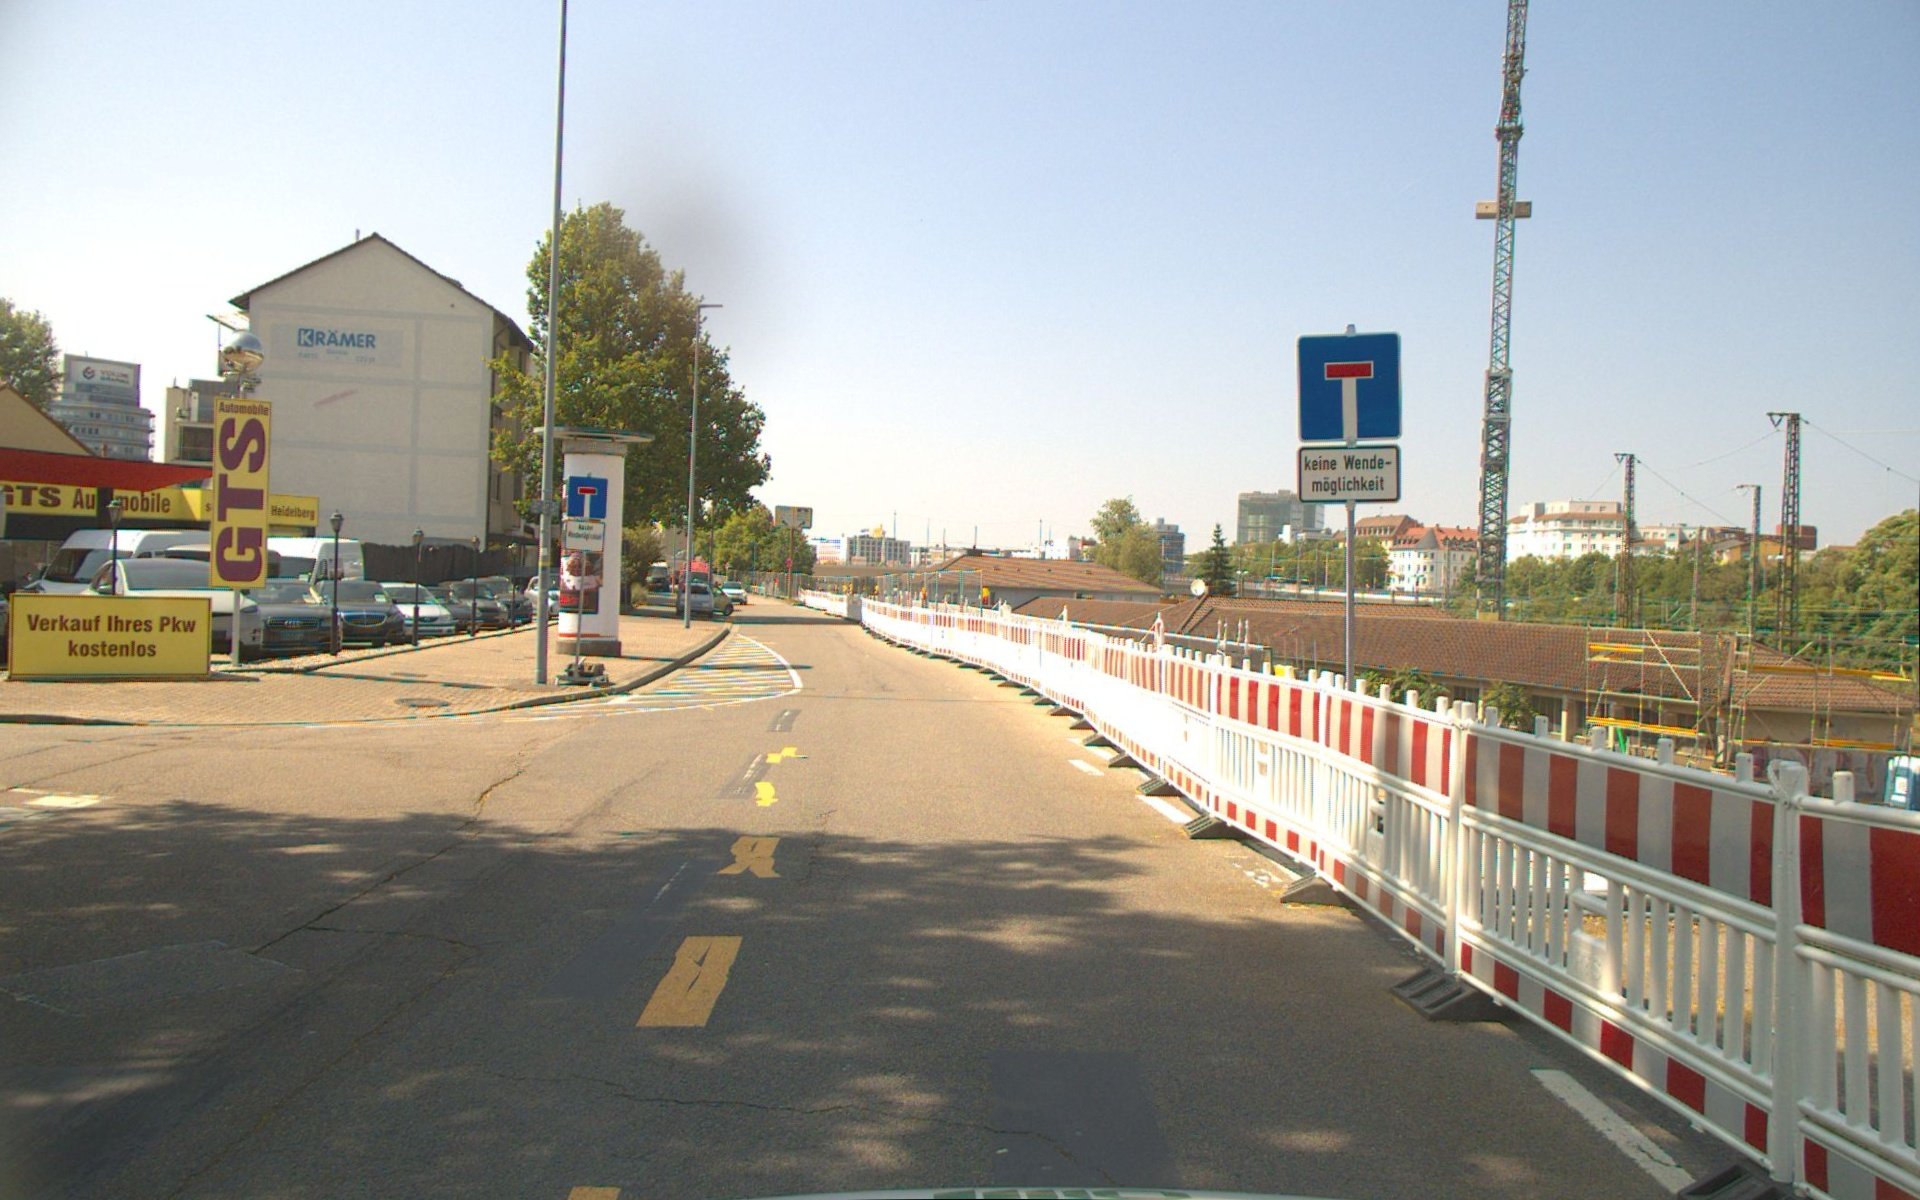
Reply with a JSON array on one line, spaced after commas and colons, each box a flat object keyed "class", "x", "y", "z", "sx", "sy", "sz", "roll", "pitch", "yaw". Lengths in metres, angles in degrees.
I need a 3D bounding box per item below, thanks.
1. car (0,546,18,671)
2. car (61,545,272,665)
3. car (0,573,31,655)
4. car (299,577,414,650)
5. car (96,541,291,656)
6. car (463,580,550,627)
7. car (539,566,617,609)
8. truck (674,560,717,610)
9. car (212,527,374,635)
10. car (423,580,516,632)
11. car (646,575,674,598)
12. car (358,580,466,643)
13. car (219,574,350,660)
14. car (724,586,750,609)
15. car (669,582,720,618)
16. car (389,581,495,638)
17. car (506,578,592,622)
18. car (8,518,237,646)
[{"class": "car", "x": -15.151, "y": 0.136, "z": 24.422, "sx": 2.019, "sy": 1.737, "sz": 4.274, "roll": 1, "pitch": -1, "yaw": -28}, {"class": "car", "x": -12.771, "y": 0.143, "z": 26.472, "sx": 1.963, "sy": 1.737, "sz": 4.595, "roll": 0, "pitch": -2, "yaw": -40}, {"class": "car", "x": -20.003, "y": 0.254, "z": 31.225, "sx": 1.868, "sy": 1.602, "sz": 4.690, "roll": 2, "pitch": 0, "yaw": 7}, {"class": "car", "x": -13.451, "y": 0.257, "z": 36.734, "sx": 1.816, "sy": 1.498, "sz": 3.962, "roll": -1, "pitch": 1, "yaw": -29}, {"class": "car", "x": -17.120, "y": 0.006, "z": 37.268, "sx": 2.200, "sy": 2.391, "sz": 4.821, "roll": 1, "pitch": -1, "yaw": -2}, {"class": "car", "x": -15.257, "y": 0.110, "z": 55.499, "sx": 1.652, "sy": 1.498, "sz": 3.953, "roll": -1, "pitch": 1, "yaw": -34}, {"class": "car", "x": -19.847, "y": -0.667, "z": 85.965, "sx": 3.856, "sy": 1.993, "sz": 1.753, "roll": 3, "pitch": 0, "yaw": -14}, {"class": "truck", "x": -15.017, "y": -0.804, "z": 94.105, "sx": 2.196, "sy": 2.694, "sz": 5.671, "roll": 2, "pitch": -1, "yaw": -8}, {"class": "car", "x": -17.440, "y": -0.436, "z": 43.616, "sx": 2.203, "sy": 2.472, "sz": 5.712, "roll": 5, "pitch": -1, "yaw": -5}, {"class": "car", "x": -15.133, "y": 0.157, "z": 50.899, "sx": 1.652, "sy": 1.498, "sz": 3.953, "roll": -1, "pitch": 1, "yaw": -34}, {"class": "car", "x": -27.230, "y": -1.179, "z": 150.366, "sx": 1.899, "sy": 1.866, "sz": 3.920, "roll": 5, "pitch": -1, "yaw": -4}, {"class": "car", "x": -14.024, "y": 0.277, "z": 42.219, "sx": 1.762, "sy": 1.498, "sz": 3.957, "roll": -1, "pitch": 1, "yaw": -31}, {"class": "car", "x": -12.858, "y": 0.282, "z": 31.355, "sx": 1.816, "sy": 1.498, "sz": 3.961, "roll": -1, "pitch": 1, "yaw": -29}, {"class": "car", "x": -15.062, "y": -0.158, "z": 111.764, "sx": 1.685, "sy": 1.440, "sz": 4.070, "roll": 2, "pitch": -1, "yaw": -8}, {"class": "car", "x": -11.998, "y": -0.011, "z": 74.912, "sx": 1.832, "sy": 1.524, "sz": 4.029, "roll": 1, "pitch": 1, "yaw": -3}, {"class": "car", "x": -14.519, "y": 0.240, "z": 46.228, "sx": 1.654, "sy": 1.498, "sz": 3.948, "roll": -1, "pitch": 1, "yaw": -36}, {"class": "car", "x": -14.723, "y": -0.022, "z": 59.080, "sx": 1.761, "sy": 1.498, "sz": 3.953, "roll": -1, "pitch": 1, "yaw": -34}, {"class": "car", "x": -19.898, "y": -0.371, "z": 39.720, "sx": 2.230, "sy": 2.806, "sz": 6.153, "roll": 1, "pitch": -1, "yaw": 1}]
